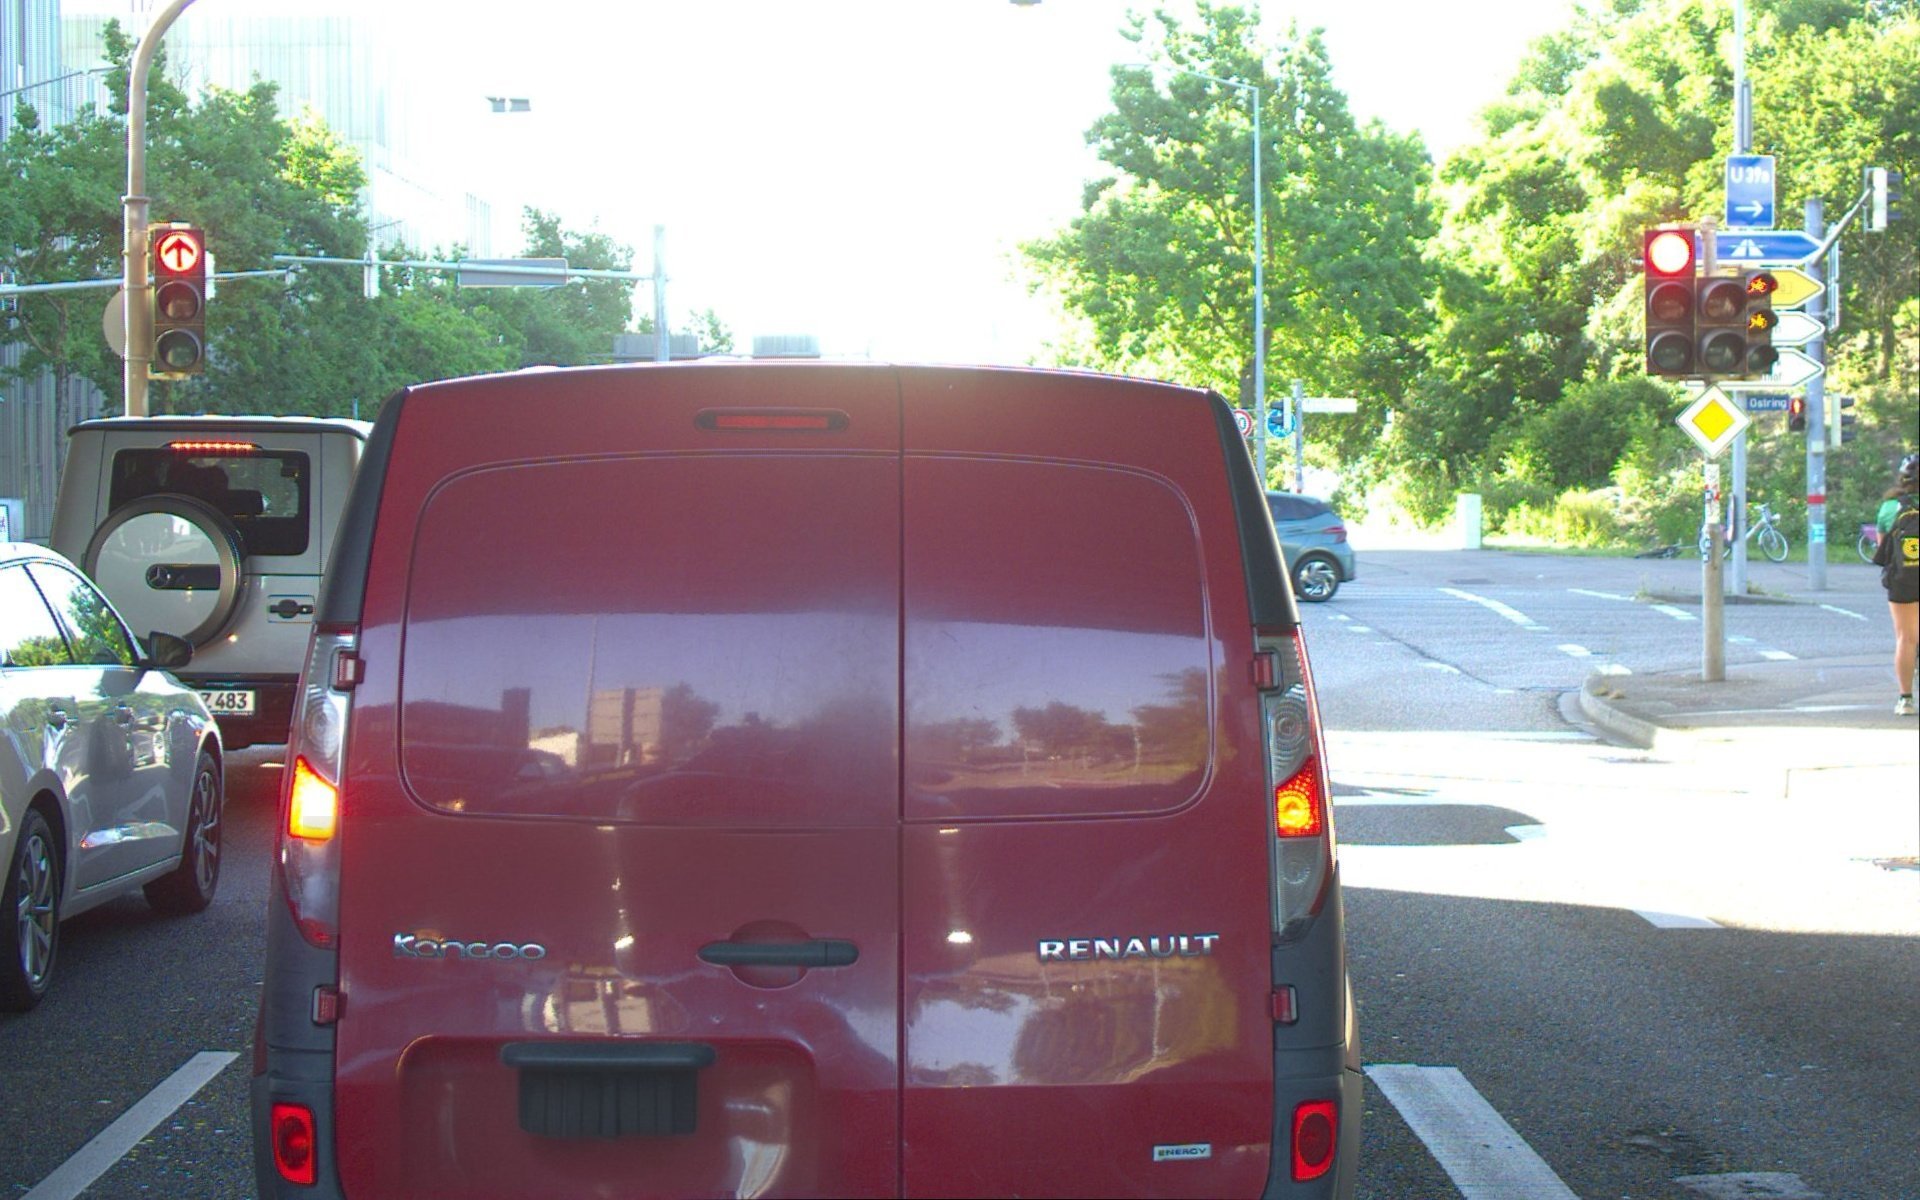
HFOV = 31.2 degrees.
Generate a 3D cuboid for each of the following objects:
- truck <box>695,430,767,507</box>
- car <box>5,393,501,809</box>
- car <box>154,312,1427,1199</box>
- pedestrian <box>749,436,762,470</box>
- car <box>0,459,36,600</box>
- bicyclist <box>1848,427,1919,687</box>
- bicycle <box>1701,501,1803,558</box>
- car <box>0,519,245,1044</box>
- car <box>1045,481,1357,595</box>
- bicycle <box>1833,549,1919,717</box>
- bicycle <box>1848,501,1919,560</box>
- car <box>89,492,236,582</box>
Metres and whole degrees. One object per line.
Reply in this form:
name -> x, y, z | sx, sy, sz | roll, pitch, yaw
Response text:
truck -> -9.459, -5.426, 142.631 | 2.409, 3.016, 6.657 | -2, 2, 0
car -> -3.716, -0.017, 18.865 | 1.801, 1.982, 4.589 | 1, 1, -1
car -> -0.269, 0.474, 6.922 | 1.805, 1.788, 4.000 | 1, 1, -1
pedestrian -> -12.384, -8.902, 208.249 | 0.740, 2.007, 0.637 | 1, 0, 3
car -> -11.718, -0.759, 35.448 | 1.824, 1.509, 4.558 | 1, 1, 22
bicyclist -> 6.051, -0.267, 21.739 | 0.591, 1.608, 0.942 | 1, 0, -1
bicycle -> 14.360, -1.277, 62.375 | 1.745, 1.020, 0.593 | 1, 0, 9
car -> -3.635, 0.468, 11.405 | 1.813, 1.433, 3.731 | 0, 2, -1
car -> 3.108, -0.801, 44.713 | 3.745, 1.443, 1.696 | 0, 1, -10
bicycle -> 6.060, 0.193, 21.760 | 0.591, 1.020, 1.750 | 1, 1, -1
bicycle -> 16.670, -1.231, 60.913 | 1.745, 1.020, 0.593 | 1, 0, 9
car -> -16.563, -1.344, 71.620 | 1.825, 1.731, 4.629 | -2, 2, 1
